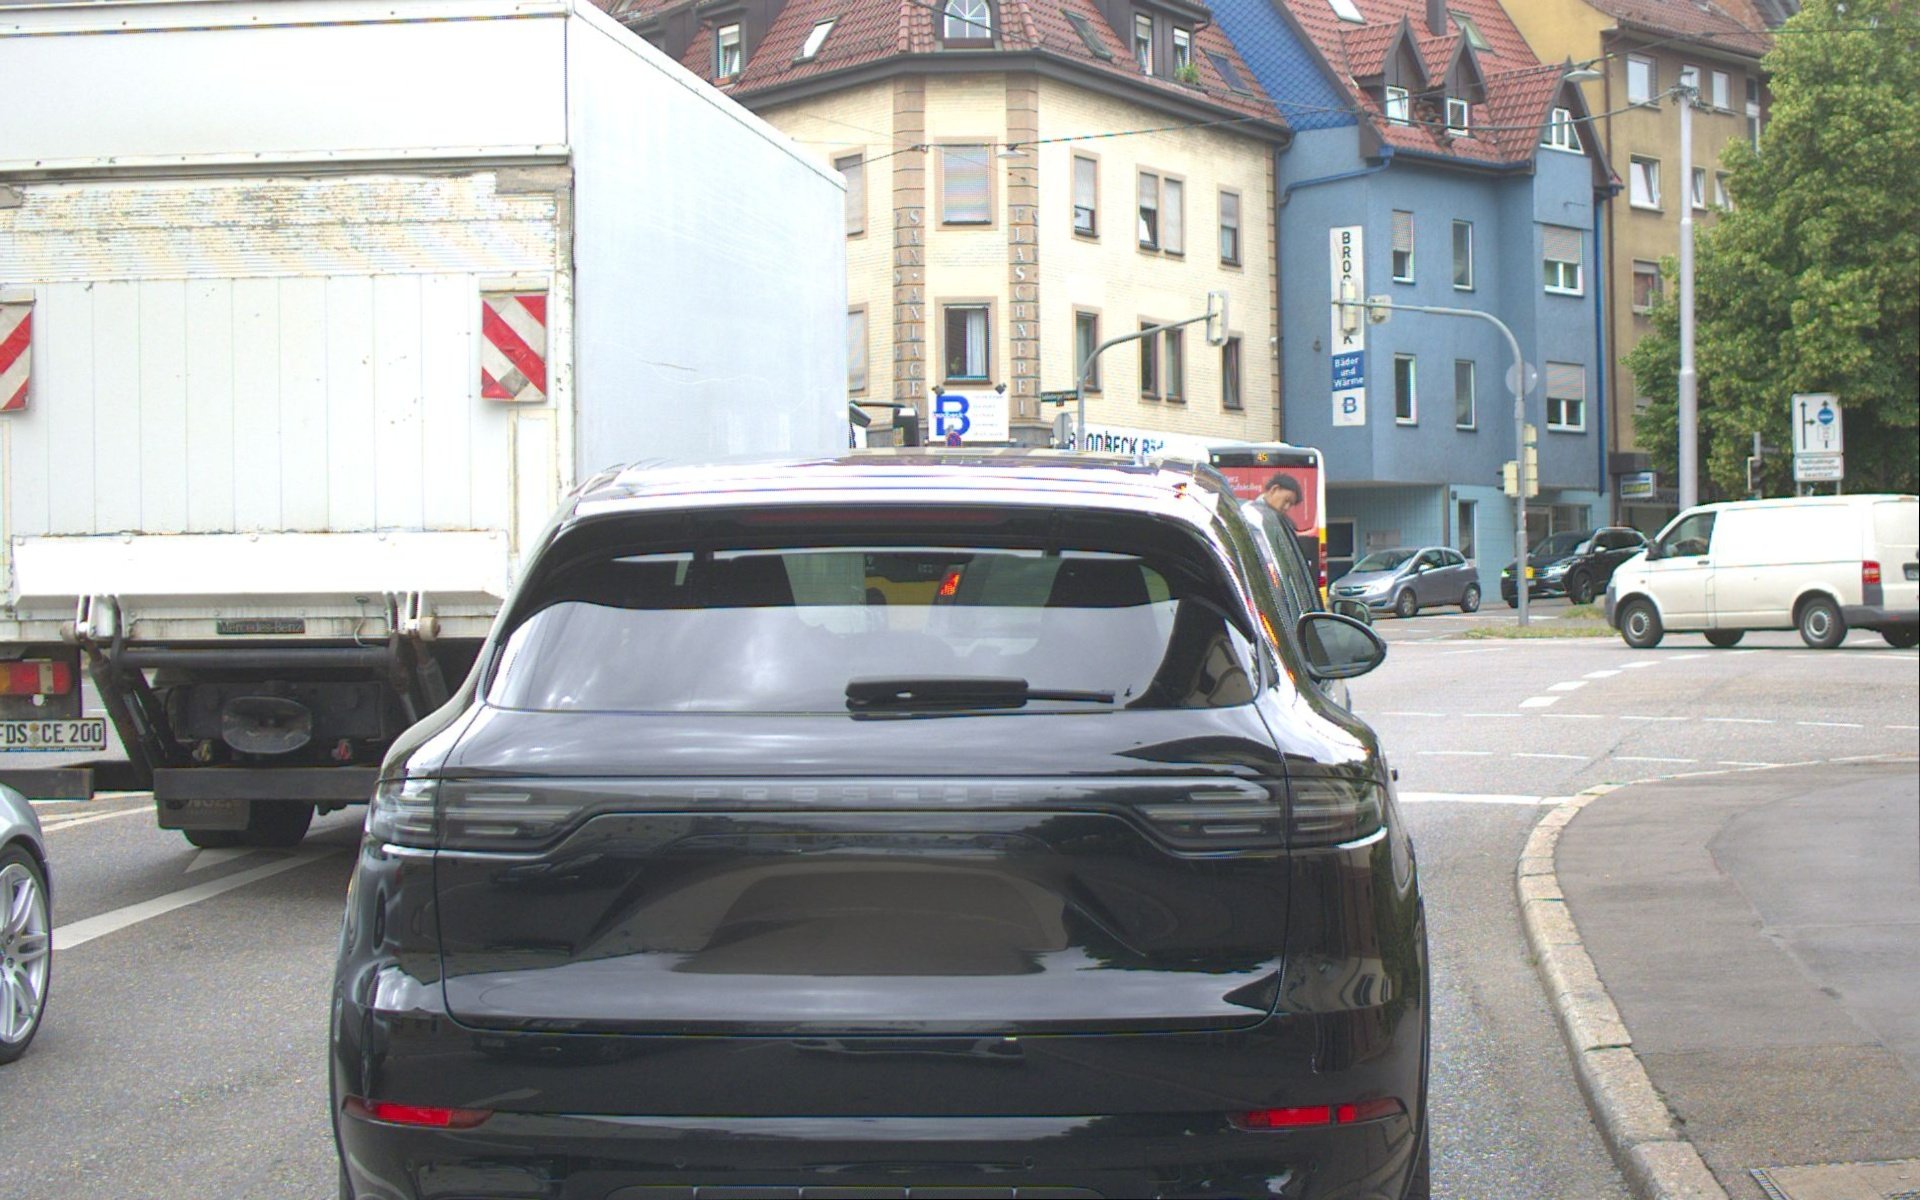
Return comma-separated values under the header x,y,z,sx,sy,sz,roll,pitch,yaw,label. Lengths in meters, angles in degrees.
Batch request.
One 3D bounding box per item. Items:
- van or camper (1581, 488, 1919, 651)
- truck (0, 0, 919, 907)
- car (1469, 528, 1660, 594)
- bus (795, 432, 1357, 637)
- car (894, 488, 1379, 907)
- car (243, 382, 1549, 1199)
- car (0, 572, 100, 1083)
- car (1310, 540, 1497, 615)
x,y,z,sx,sy,sz,roll,pitch,yaw,label
10.633,-0.410,45.021,1.994,2.007,4.830,0,1,-37,van or camper
-2.202,-0.704,17.355,2.726,3.532,8.419,1,1,8,truck
13.401,-0.845,76.058,1.875,1.411,4.686,0,0,43,car
1.596,-0.995,57.707,3.157,3.085,12.151,-1,0,-32,bus
0.870,0.347,14.771,1.649,1.550,3.581,1,1,10,car
-0.129,0.481,7.647,2.031,1.717,4.500,1,1,-1,car
-3.496,0.654,8.030,1.629,1.360,4.128,-1,1,5,car
9.191,-0.471,71.092,1.721,1.471,4.208,-1,0,42,car
